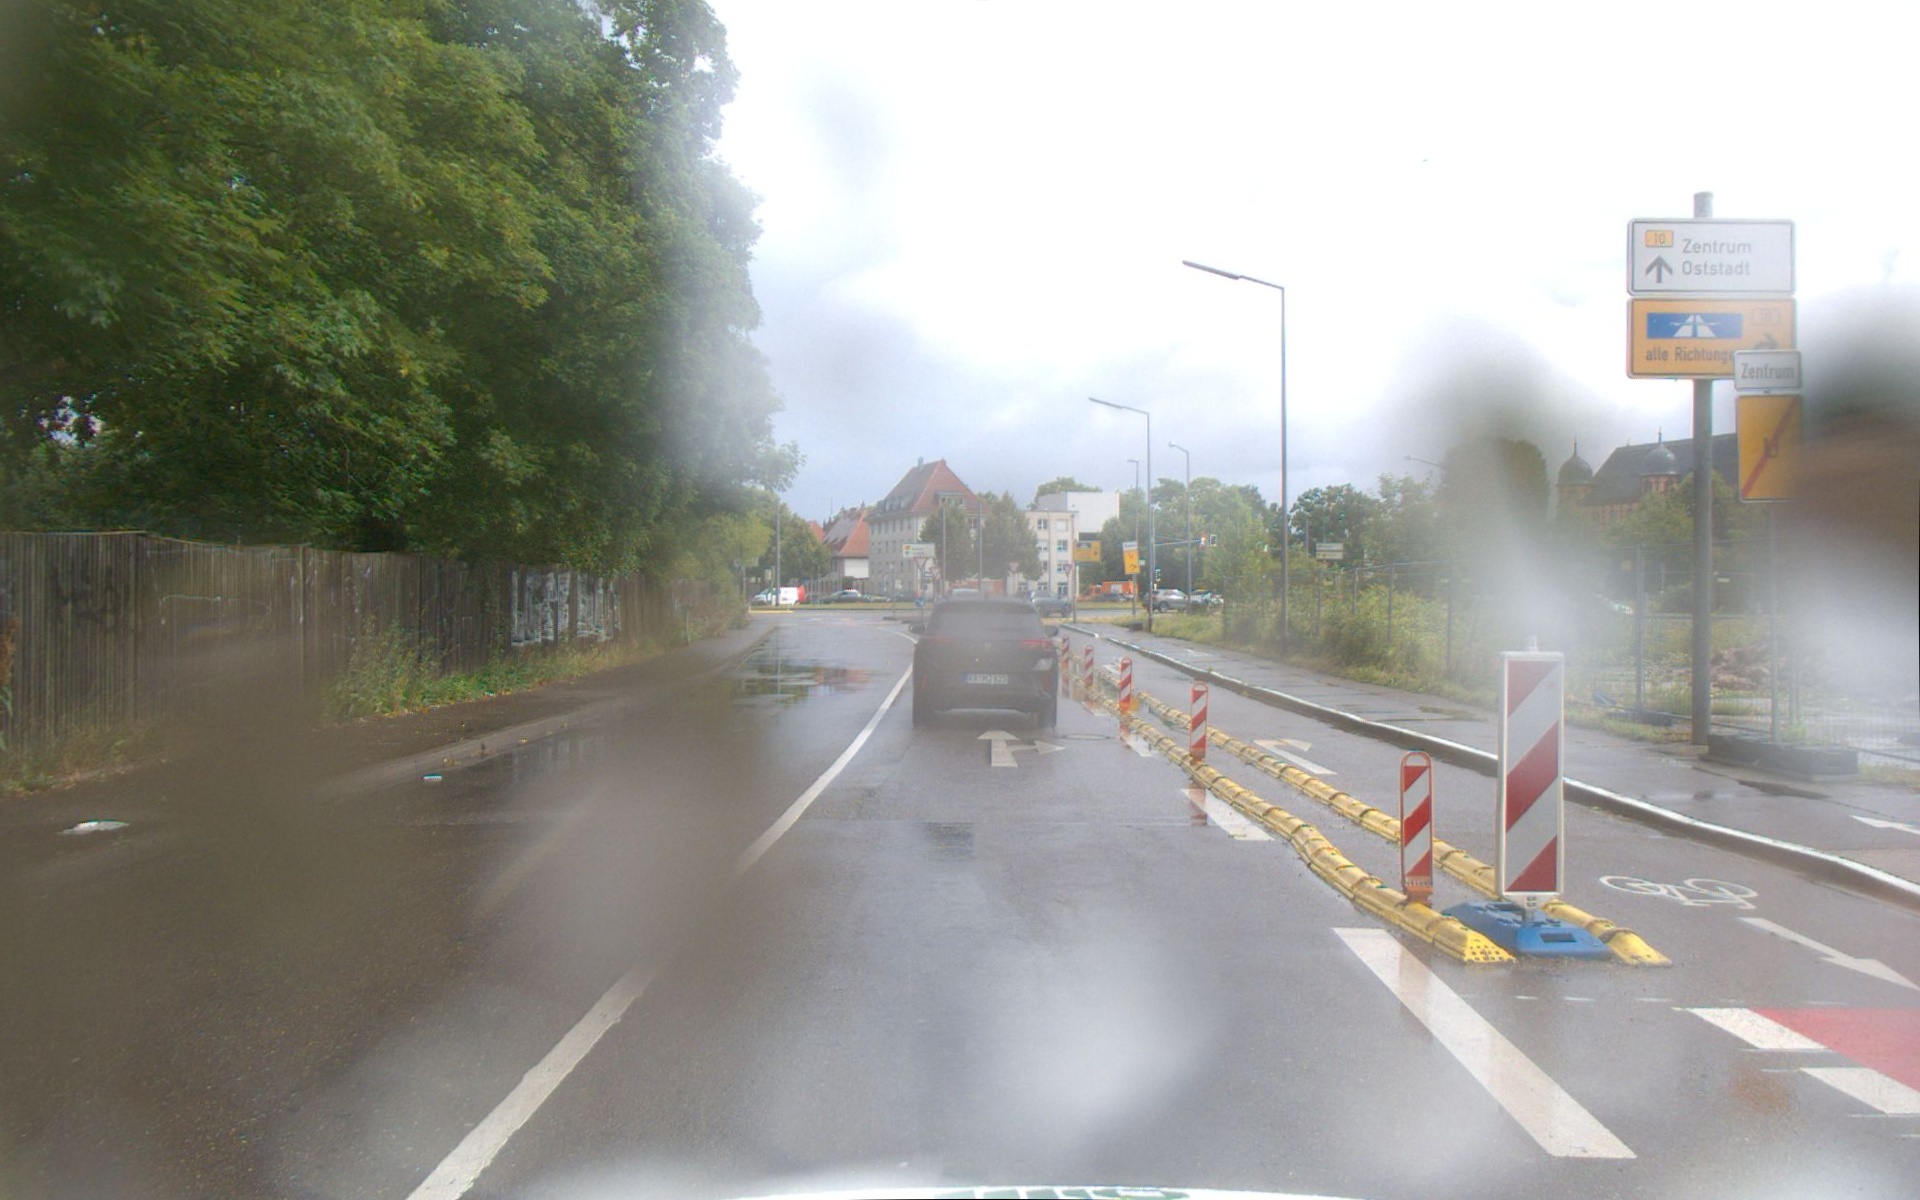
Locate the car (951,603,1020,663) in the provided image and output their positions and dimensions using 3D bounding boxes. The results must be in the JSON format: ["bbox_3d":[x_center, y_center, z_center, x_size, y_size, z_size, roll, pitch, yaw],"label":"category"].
[{"bbox_3d":[0.657,0.855,44.886,1.700,1.540,3.602,0,0,-2],"label":"car"}]

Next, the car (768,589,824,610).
[{"bbox_3d":[-15.337,-0.046,154.555,5.082,1.909,1.868,-1,0,-39],"label":"car"}]

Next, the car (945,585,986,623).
[{"bbox_3d":[0.237,0.178,81.074,1.827,1.841,4.401,0,0,-3],"label":"car"}]

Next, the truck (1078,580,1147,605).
[{"bbox_3d":[15.334,-0.778,166.330,6.566,2.485,2.433,0,0,23],"label":"truck"}]

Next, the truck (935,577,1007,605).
[{"bbox_3d":[1.097,-0.897,161.204,6.920,2.696,2.330,0,0,2],"label":"truck"}]

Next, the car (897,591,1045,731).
[{"bbox_3d":[0.059,0.715,21.070,1.674,1.601,3.680,1,0,-3],"label":"car"}]
